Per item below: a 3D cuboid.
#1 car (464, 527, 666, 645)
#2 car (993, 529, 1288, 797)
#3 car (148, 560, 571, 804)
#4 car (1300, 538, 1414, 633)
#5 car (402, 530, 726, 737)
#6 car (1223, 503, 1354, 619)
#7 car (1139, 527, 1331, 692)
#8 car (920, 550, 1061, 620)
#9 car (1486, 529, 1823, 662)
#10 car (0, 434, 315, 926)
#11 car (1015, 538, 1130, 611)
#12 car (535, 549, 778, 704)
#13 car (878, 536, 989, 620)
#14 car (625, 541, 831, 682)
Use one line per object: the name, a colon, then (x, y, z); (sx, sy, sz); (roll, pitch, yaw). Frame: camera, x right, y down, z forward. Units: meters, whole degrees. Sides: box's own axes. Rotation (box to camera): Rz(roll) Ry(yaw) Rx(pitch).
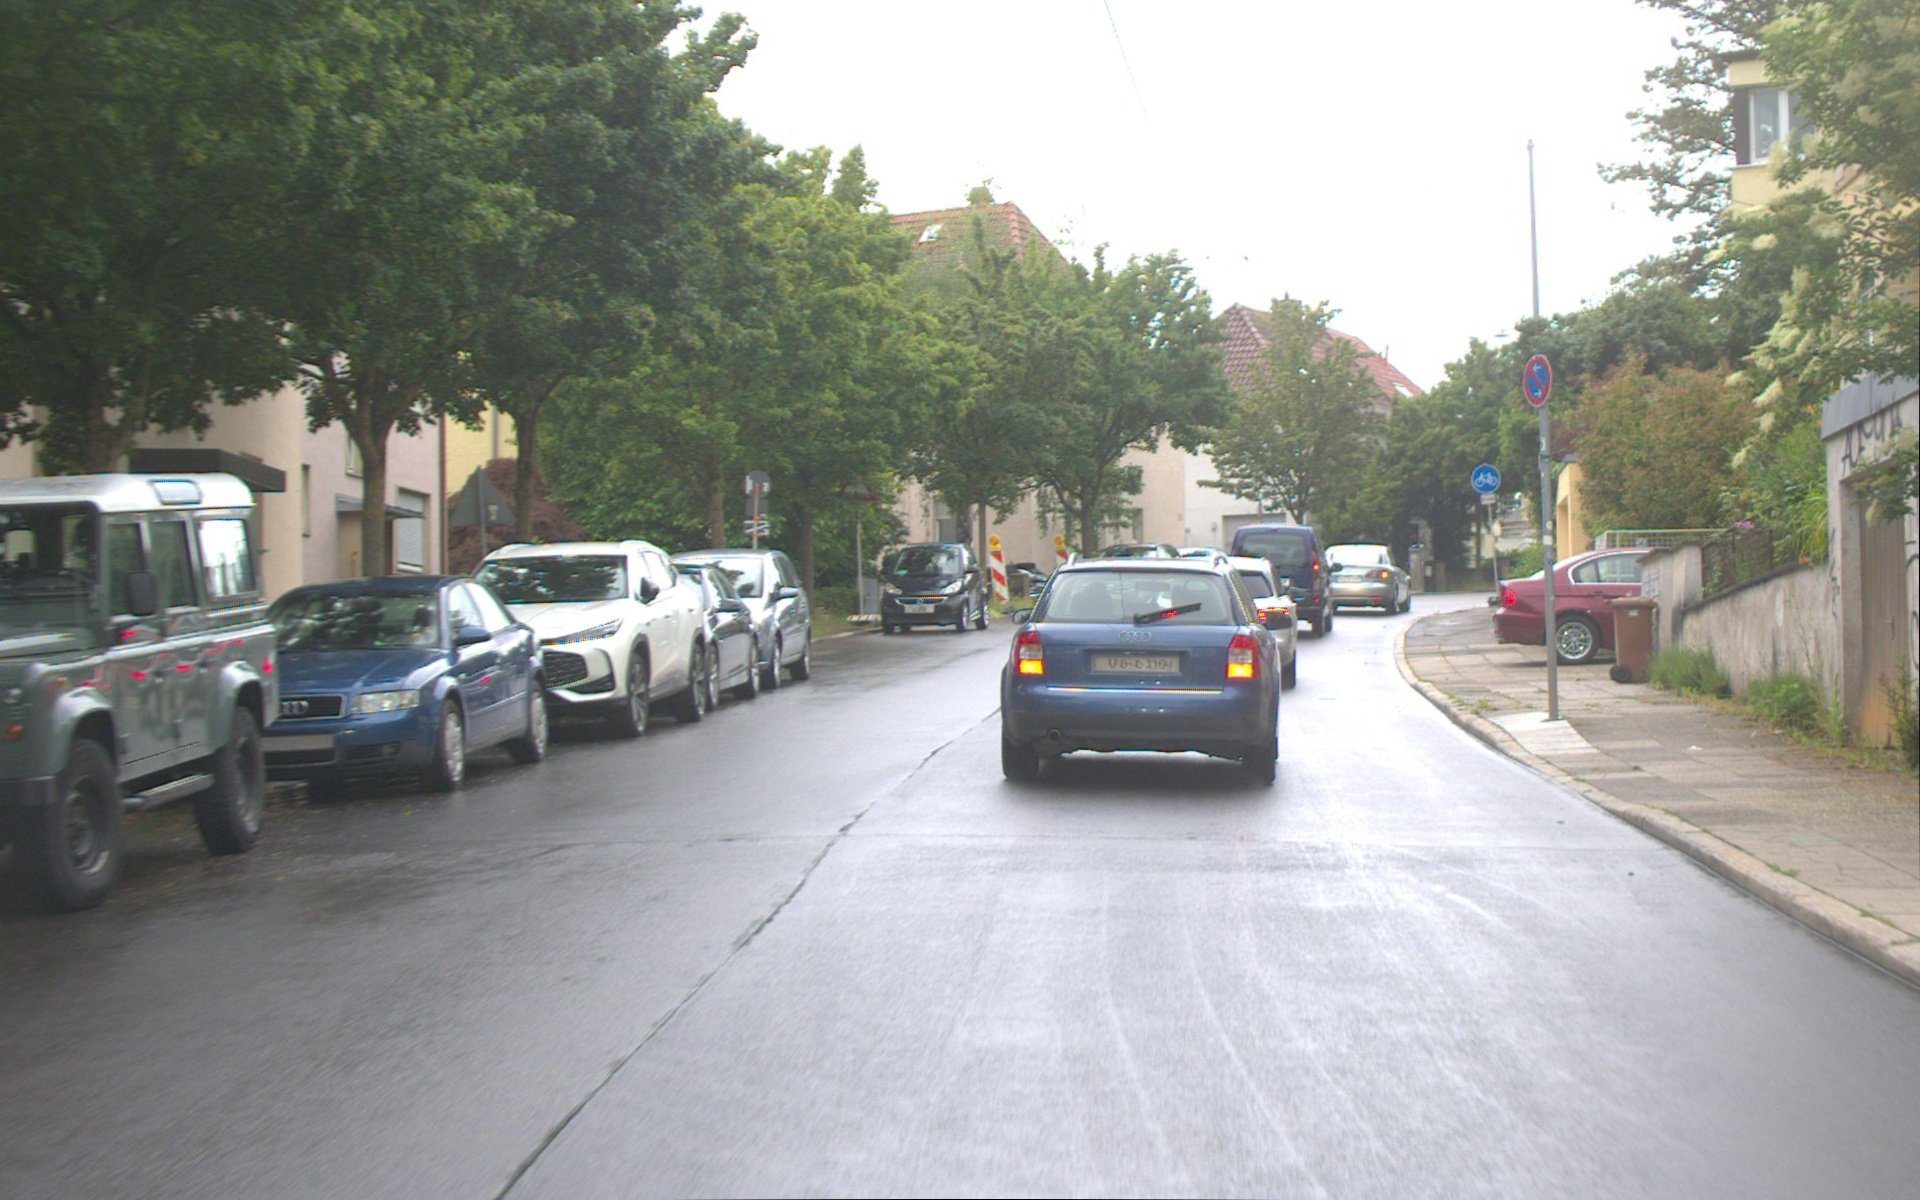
car: (-7.116, -0.269, 62.074); (3.211, 1.734, 1.479); (-6, 2, 7)
car: (1.260, 0.337, 22.714); (1.734, 1.461, 4.000); (2, 3, 5)
car: (-4.067, 0.495, 24.073); (1.768, 1.382, 4.633); (-2, 2, 5)
car: (8.281, -0.336, 71.400); (1.735, 1.762, 4.233); (2, 3, 14)
car: (-3.363, 0.251, 30.103); (1.768, 1.621, 4.689); (-2, 0, 6)
car: (5.557, -0.689, 57.722); (1.734, 1.762, 4.233); (2, 3, 11)
car: (3.225, 0.056, 39.619); (1.976, 1.629, 4.234); (2, 3, 7)
car: (0.803, -0.391, 89.647); (3.213, 1.367, 1.478); (-7, 2, 22)
car: (8.604, -0.066, 42.834); (3.988, 1.461, 1.739); (-2, 2, 9)
car: (-4.639, 0.310, 16.761); (1.791, 2.042, 4.782); (-3, 2, 2)
car: (2.564, -0.605, 77.490); (1.734, 1.461, 3.998); (2, 3, 14)
car: (-3.068, 0.243, 35.515); (1.768, 1.468, 4.007); (-1, 0, 5)
car: (-0.435, -0.400, 60.068); (1.475, 1.291, 3.220); (2, 3, 7)
car: (-2.692, 0.117, 40.698); (1.768, 1.534, 4.007); (-2, 0, 5)
